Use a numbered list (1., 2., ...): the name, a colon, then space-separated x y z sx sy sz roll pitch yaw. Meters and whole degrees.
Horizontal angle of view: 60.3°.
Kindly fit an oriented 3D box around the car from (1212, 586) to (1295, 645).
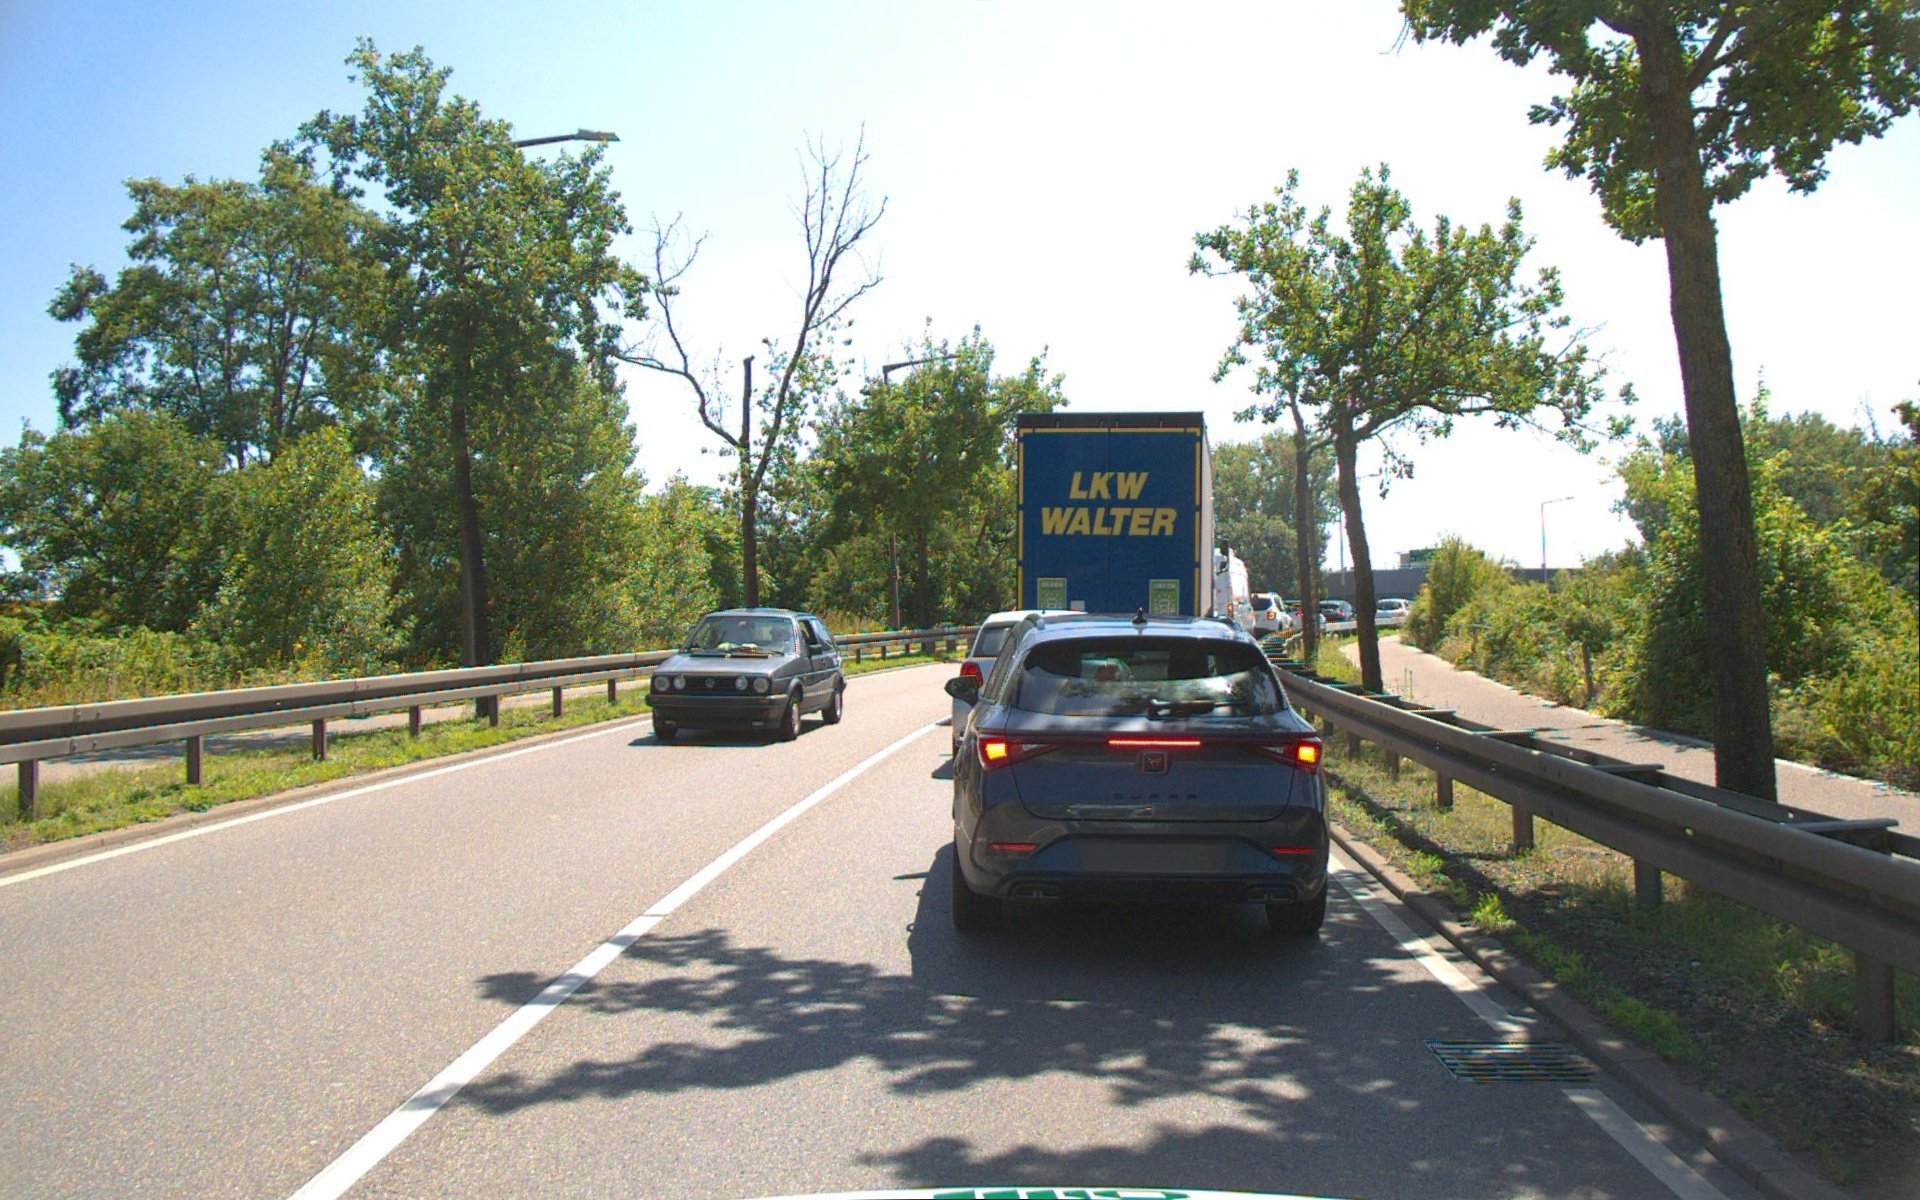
1. car: 9.222 0.477 51.749 1.952 1.742 4.622 0 0 18

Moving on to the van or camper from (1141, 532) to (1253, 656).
1. van or camper: 6.380 -0.138 43.854 2.414 3.051 6.091 0 0 13

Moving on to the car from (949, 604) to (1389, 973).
1. car: 0.822 0.756 8.514 1.709 1.457 3.879 1 0 -1

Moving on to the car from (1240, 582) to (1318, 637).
1. car: 11.317 0.330 58.475 1.952 1.840 4.846 0 0 20

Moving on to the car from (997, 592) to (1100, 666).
1. car: 2.347 0.711 42.632 1.708 1.794 4.392 0 0 16

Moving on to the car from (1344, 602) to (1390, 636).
1. car: 22.278 1.008 90.444 1.710 1.794 4.434 0 0 23

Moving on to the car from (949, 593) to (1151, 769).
1. car: 0.825 0.723 16.655 1.772 1.534 4.000 1 0 1

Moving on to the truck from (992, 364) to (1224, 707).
1. truck: 3.277 -0.829 30.359 2.887 4.527 16.812 0 0 10

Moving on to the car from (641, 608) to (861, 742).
1. car: -2.334 0.796 19.451 1.523 1.396 3.892 0 0 9

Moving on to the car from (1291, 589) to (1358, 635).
1. car: 14.659 0.485 66.344 1.952 1.747 4.869 0 0 20

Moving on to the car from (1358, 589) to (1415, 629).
1. car: 19.813 0.413 76.722 1.953 1.799 4.754 0 0 22
